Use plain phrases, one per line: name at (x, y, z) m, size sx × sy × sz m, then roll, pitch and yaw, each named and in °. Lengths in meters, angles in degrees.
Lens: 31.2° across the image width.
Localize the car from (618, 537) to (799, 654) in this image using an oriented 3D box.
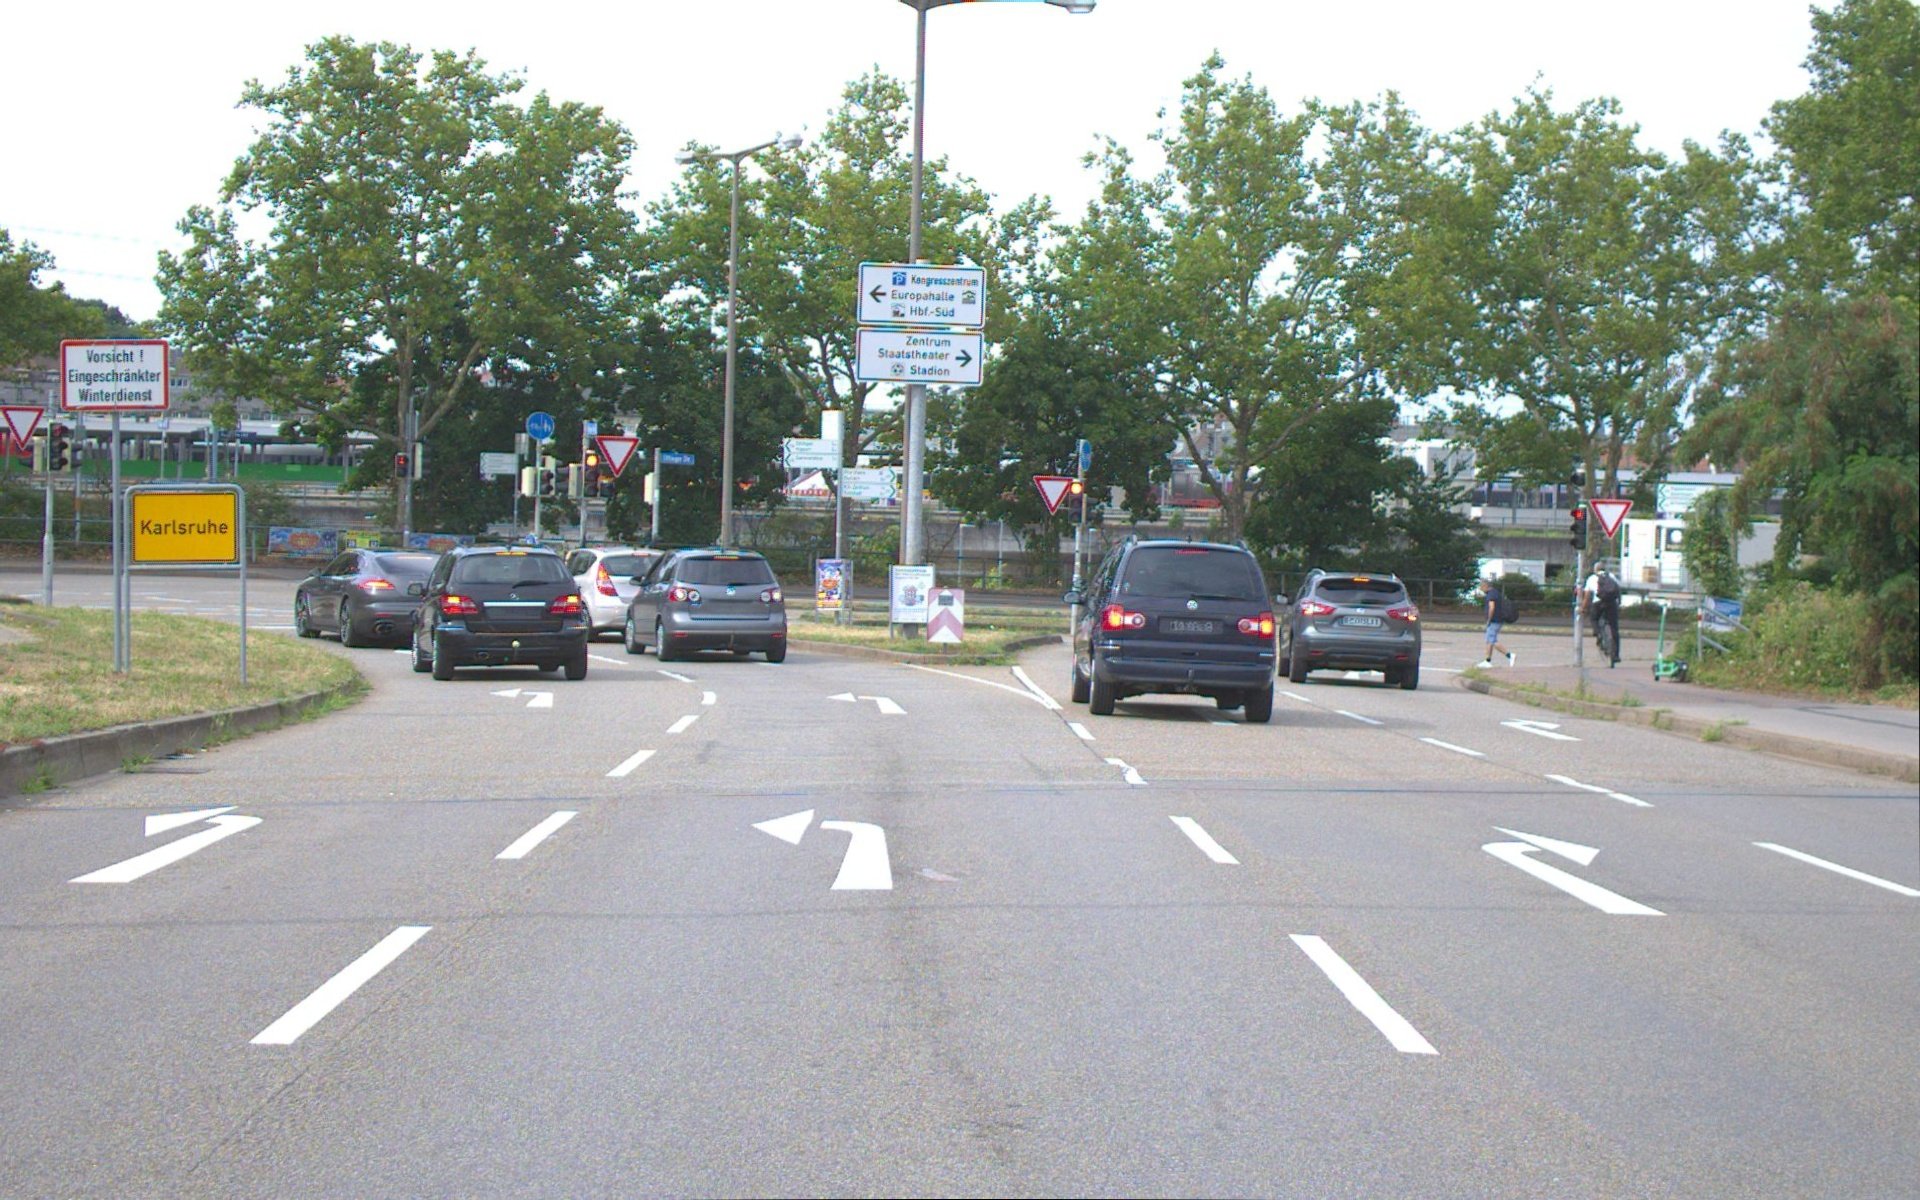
car at (-3.560, -0.095, 48.108) m, size 1.740 × 1.541 × 4.083 m, roll 1°, pitch 1°, yaw -15°

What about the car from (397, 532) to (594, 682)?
car at (-5.579, 0.049, 40.904) m, size 1.756 × 1.570 × 4.038 m, roll 2°, pitch 2°, yaw -15°

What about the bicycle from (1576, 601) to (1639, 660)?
bicycle at (11.242, 0.514, 59.775) m, size 0.809 × 0.949 × 2.235 m, roll 1°, pitch 1°, yaw 4°

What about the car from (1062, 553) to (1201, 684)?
car at (2.341, 0.234, 46.101) m, size 1.691 × 1.580 × 4.155 m, roll 3°, pitch 0°, yaw 4°

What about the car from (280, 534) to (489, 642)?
car at (-8.479, -0.203, 50.341) m, size 1.818 × 1.409 × 4.778 m, roll 1°, pitch 1°, yaw -24°

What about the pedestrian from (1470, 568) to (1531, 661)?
pedestrian at (10.183, 0.264, 64.710) m, size 1.047 × 1.704 × 0.853 m, roll 3°, pitch 1°, yaw 10°

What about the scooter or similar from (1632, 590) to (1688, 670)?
scooter or similar at (10.508, 0.446, 51.604) m, size 0.396 × 1.179 × 1.281 m, roll 1°, pitch 0°, yaw -8°

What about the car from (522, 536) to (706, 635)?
car at (-5.535, -0.250, 54.576) m, size 1.740 × 1.477 × 4.083 m, roll 1°, pitch 1°, yaw -23°

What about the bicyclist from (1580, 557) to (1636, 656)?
bicyclist at (11.270, 0.106, 59.790) m, size 0.810 × 1.690 × 1.115 m, roll 1°, pitch 1°, yaw 5°

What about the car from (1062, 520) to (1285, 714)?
car at (2.062, 0.142, 34.272) m, size 1.750 × 1.719 × 4.138 m, roll 3°, pitch 0°, yaw -2°

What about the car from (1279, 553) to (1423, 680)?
car at (5.541, 0.215, 49.147) m, size 1.750 × 1.637 × 4.137 m, roll 3°, pitch 0°, yaw 4°
